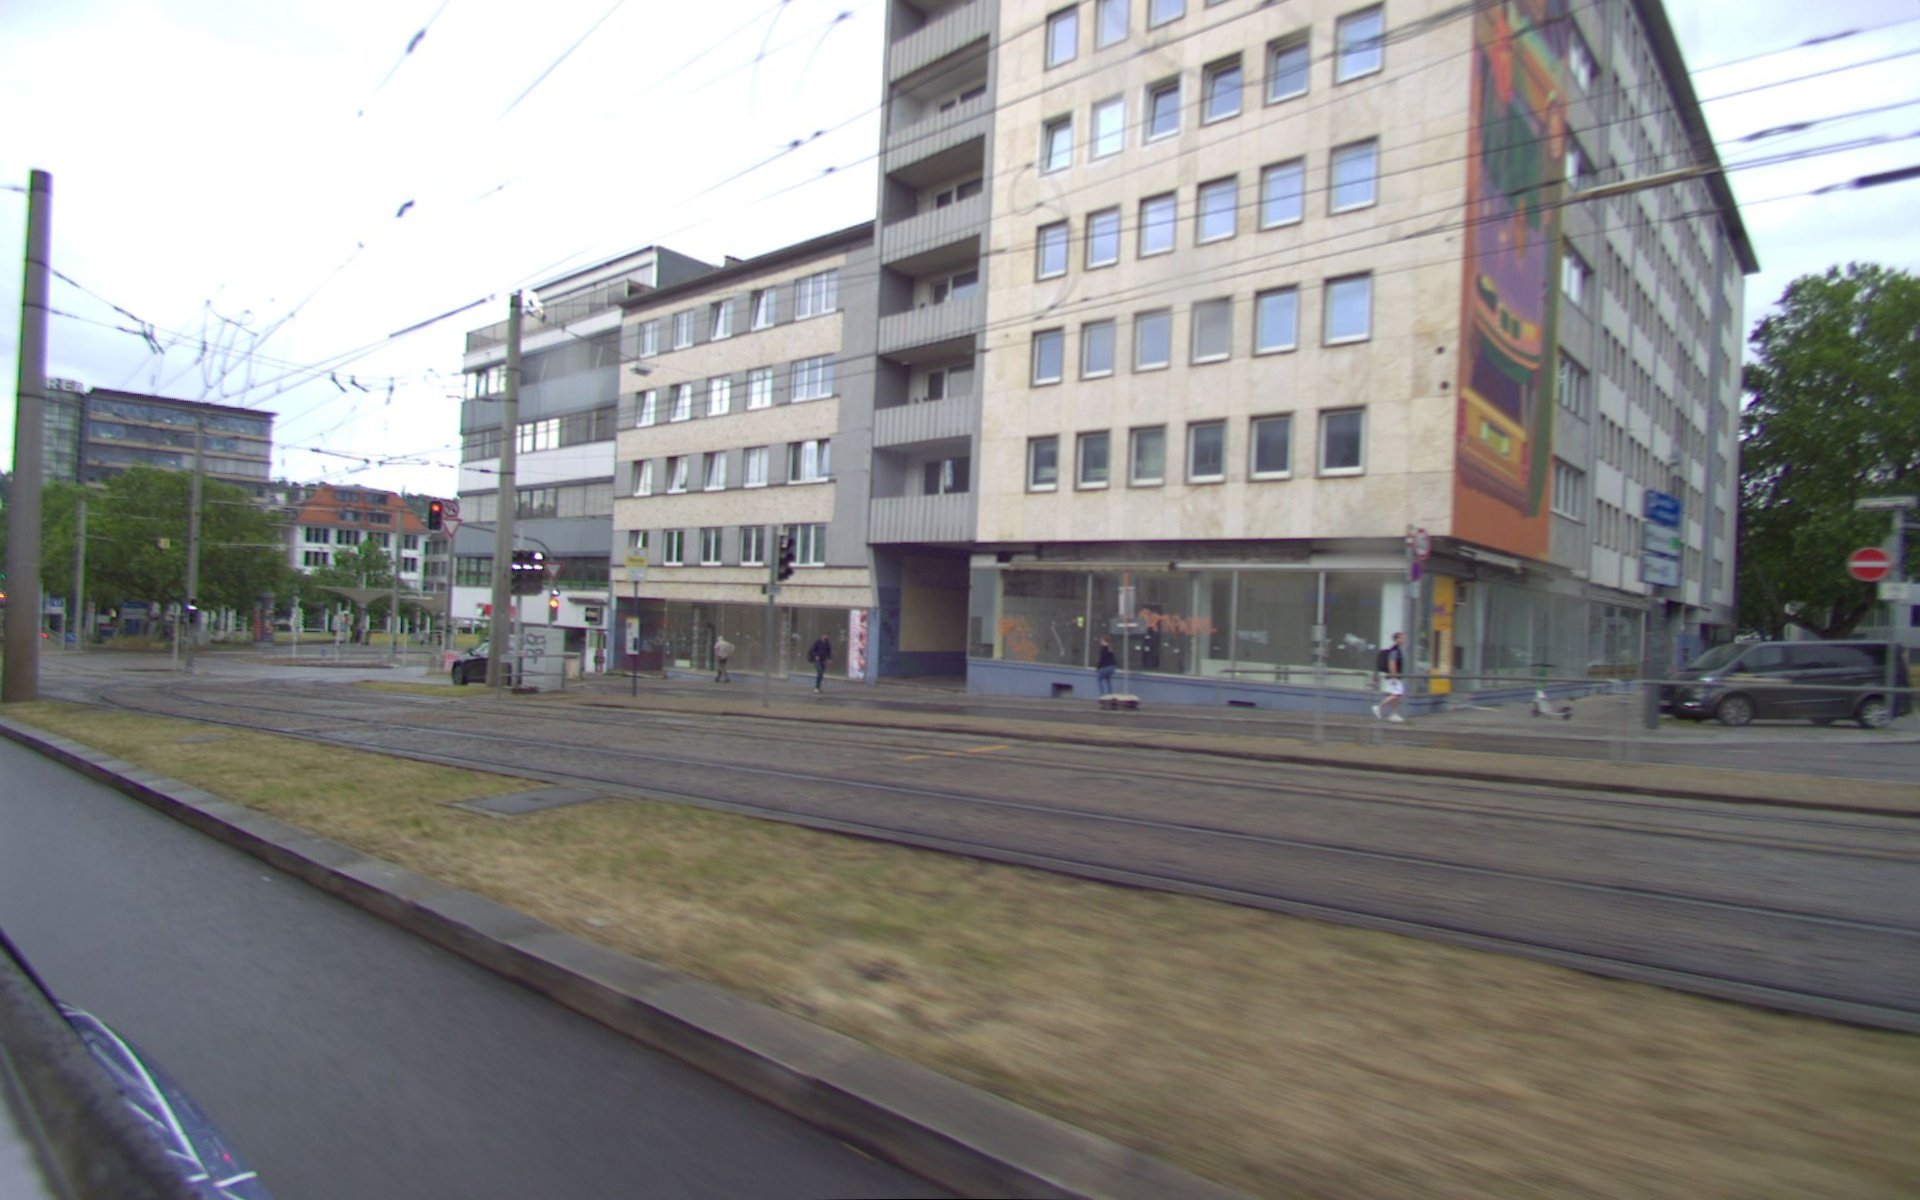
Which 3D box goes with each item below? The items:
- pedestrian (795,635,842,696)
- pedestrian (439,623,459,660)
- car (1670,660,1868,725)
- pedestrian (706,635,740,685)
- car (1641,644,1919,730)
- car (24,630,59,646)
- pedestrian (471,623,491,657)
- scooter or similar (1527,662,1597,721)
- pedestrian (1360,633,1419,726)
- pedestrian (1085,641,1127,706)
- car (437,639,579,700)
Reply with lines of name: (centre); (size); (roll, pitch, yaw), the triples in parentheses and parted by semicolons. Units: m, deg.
pedestrian: (-4.069, 1.879, 29.194); (0.997, 1.694, 0.879); (-2, -4, 39)
pedestrian: (-26.986, 2.173, 53.448); (0.687, 1.928, 0.720); (2, -2, -8)
car: (21.901, 2.475, 27.489); (3.936, 1.652, 1.997); (1, -3, -9)
pedestrian: (-8.191, 2.076, 34.980); (0.997, 1.694, 0.672); (-2, -4, 39)
car: (19.132, 1.953, 23.414); (5.174, 1.843, 1.994); (0, -2, 9)
car: (-93.329, 3.863, 102.821); (4.731, 1.517, 2.076); (-1, -3, 42)
pedestrian: (-27.262, 2.266, 57.588); (0.697, 1.928, 0.710); (0, -3, 40)
scooter or similar: (12.560, 1.898, 21.166); (0.558, 1.154, 1.488); (0, -2, 0)
pedestrian: (8.291, 1.515, 19.563); (0.909, 1.751, 0.591); (-2, -4, 39)
pedestrian: (3.565, 1.782, 24.674); (0.775, 1.560, 0.670); (-2, -4, 39)
car: (-13.698, 2.063, 30.577); (4.520, 1.686, 1.974); (-2, -4, 38)
